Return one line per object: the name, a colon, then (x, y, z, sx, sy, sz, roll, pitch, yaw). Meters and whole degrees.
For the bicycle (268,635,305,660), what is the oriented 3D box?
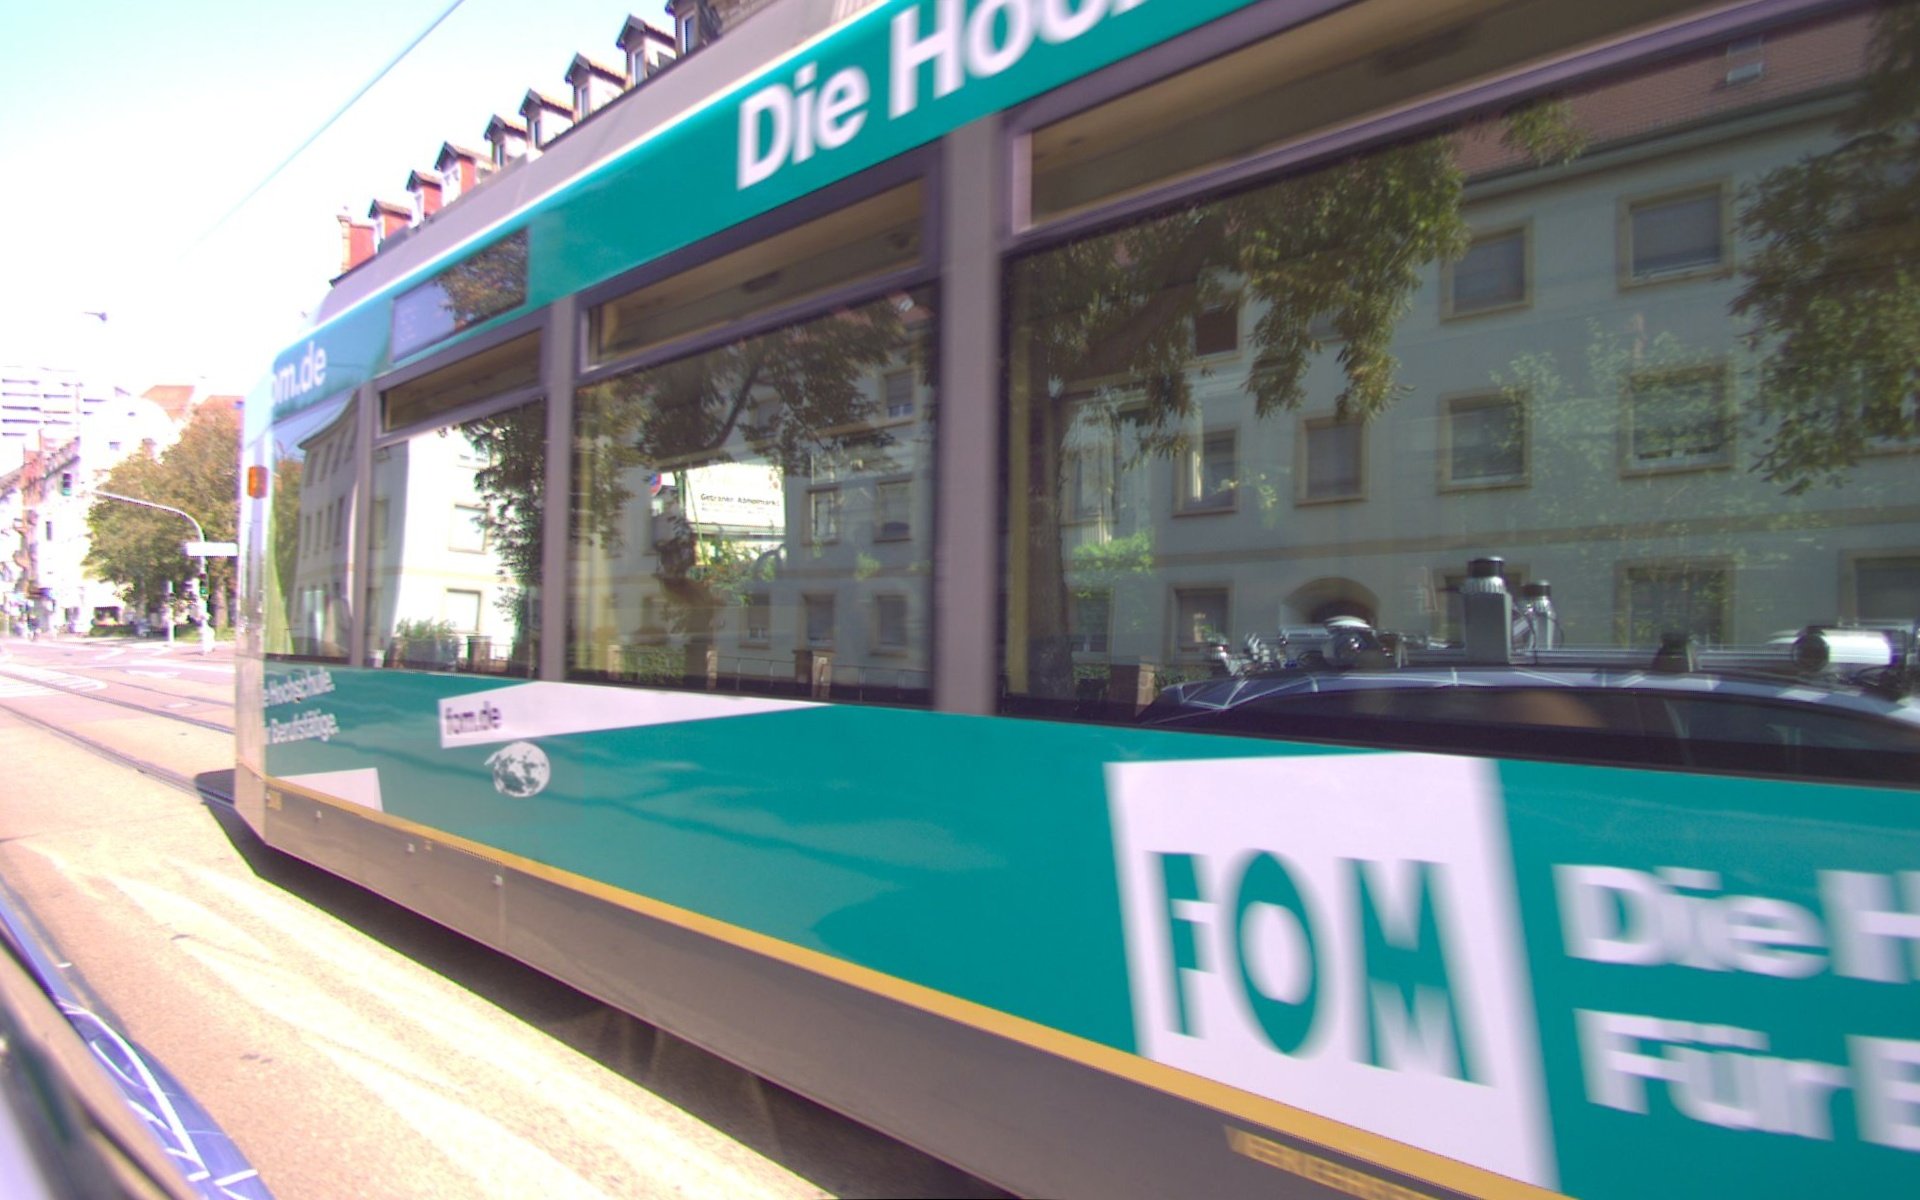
bicycle: (-26.044, 1.825, 39.145, 0.519, 0.866, 1.832, -1, -1, -11)

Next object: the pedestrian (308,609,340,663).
pedestrian: (-20.282, 1.152, 32.273, 0.631, 1.691, 0.632, -2, -1, 29)

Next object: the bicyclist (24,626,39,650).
bicyclist: (-63.959, 2.585, 69.721, 1.044, 1.626, 0.666, -2, -1, 43)

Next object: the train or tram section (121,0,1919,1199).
train or tram section: (1.499, -0.369, 2.366, 15.422, 3.532, 2.707, -2, 0, 41)

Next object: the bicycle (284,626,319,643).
bicycle: (-54.841, 2.884, 84.275, 0.864, 1.381, 2.280, -2, -1, 30)

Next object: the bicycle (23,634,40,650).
bicycle: (-63.994, 2.888, 69.757, 2.069, 1.112, 0.677, -2, -1, 43)

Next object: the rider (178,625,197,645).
rider: (-60.434, 2.732, 79.162, 1.115, 1.523, 0.983, -2, 0, 45)

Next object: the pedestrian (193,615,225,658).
pedestrian: (-32.093, 1.540, 43.230, 1.186, 1.779, 0.894, -2, -1, 44)

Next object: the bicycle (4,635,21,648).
bicycle: (-83.310, 3.609, 88.974, 1.887, 1.112, 0.540, -2, -1, 28)

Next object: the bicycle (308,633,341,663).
bicycle: (-20.580, 1.549, 32.755, 1.703, 0.934, 0.520, -2, -1, 44)

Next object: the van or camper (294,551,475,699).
van or camper: (-12.201, 0.486, 21.197, 2.026, 2.664, 6.097, 0, -1, -42)

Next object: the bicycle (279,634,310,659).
bicycle: (-23.758, 1.648, 36.118, 1.828, 0.866, 0.520, -2, -1, 44)

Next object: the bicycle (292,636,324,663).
bicycle: (-21.835, 1.640, 33.889, 1.703, 0.866, 0.520, -2, -1, 44)
